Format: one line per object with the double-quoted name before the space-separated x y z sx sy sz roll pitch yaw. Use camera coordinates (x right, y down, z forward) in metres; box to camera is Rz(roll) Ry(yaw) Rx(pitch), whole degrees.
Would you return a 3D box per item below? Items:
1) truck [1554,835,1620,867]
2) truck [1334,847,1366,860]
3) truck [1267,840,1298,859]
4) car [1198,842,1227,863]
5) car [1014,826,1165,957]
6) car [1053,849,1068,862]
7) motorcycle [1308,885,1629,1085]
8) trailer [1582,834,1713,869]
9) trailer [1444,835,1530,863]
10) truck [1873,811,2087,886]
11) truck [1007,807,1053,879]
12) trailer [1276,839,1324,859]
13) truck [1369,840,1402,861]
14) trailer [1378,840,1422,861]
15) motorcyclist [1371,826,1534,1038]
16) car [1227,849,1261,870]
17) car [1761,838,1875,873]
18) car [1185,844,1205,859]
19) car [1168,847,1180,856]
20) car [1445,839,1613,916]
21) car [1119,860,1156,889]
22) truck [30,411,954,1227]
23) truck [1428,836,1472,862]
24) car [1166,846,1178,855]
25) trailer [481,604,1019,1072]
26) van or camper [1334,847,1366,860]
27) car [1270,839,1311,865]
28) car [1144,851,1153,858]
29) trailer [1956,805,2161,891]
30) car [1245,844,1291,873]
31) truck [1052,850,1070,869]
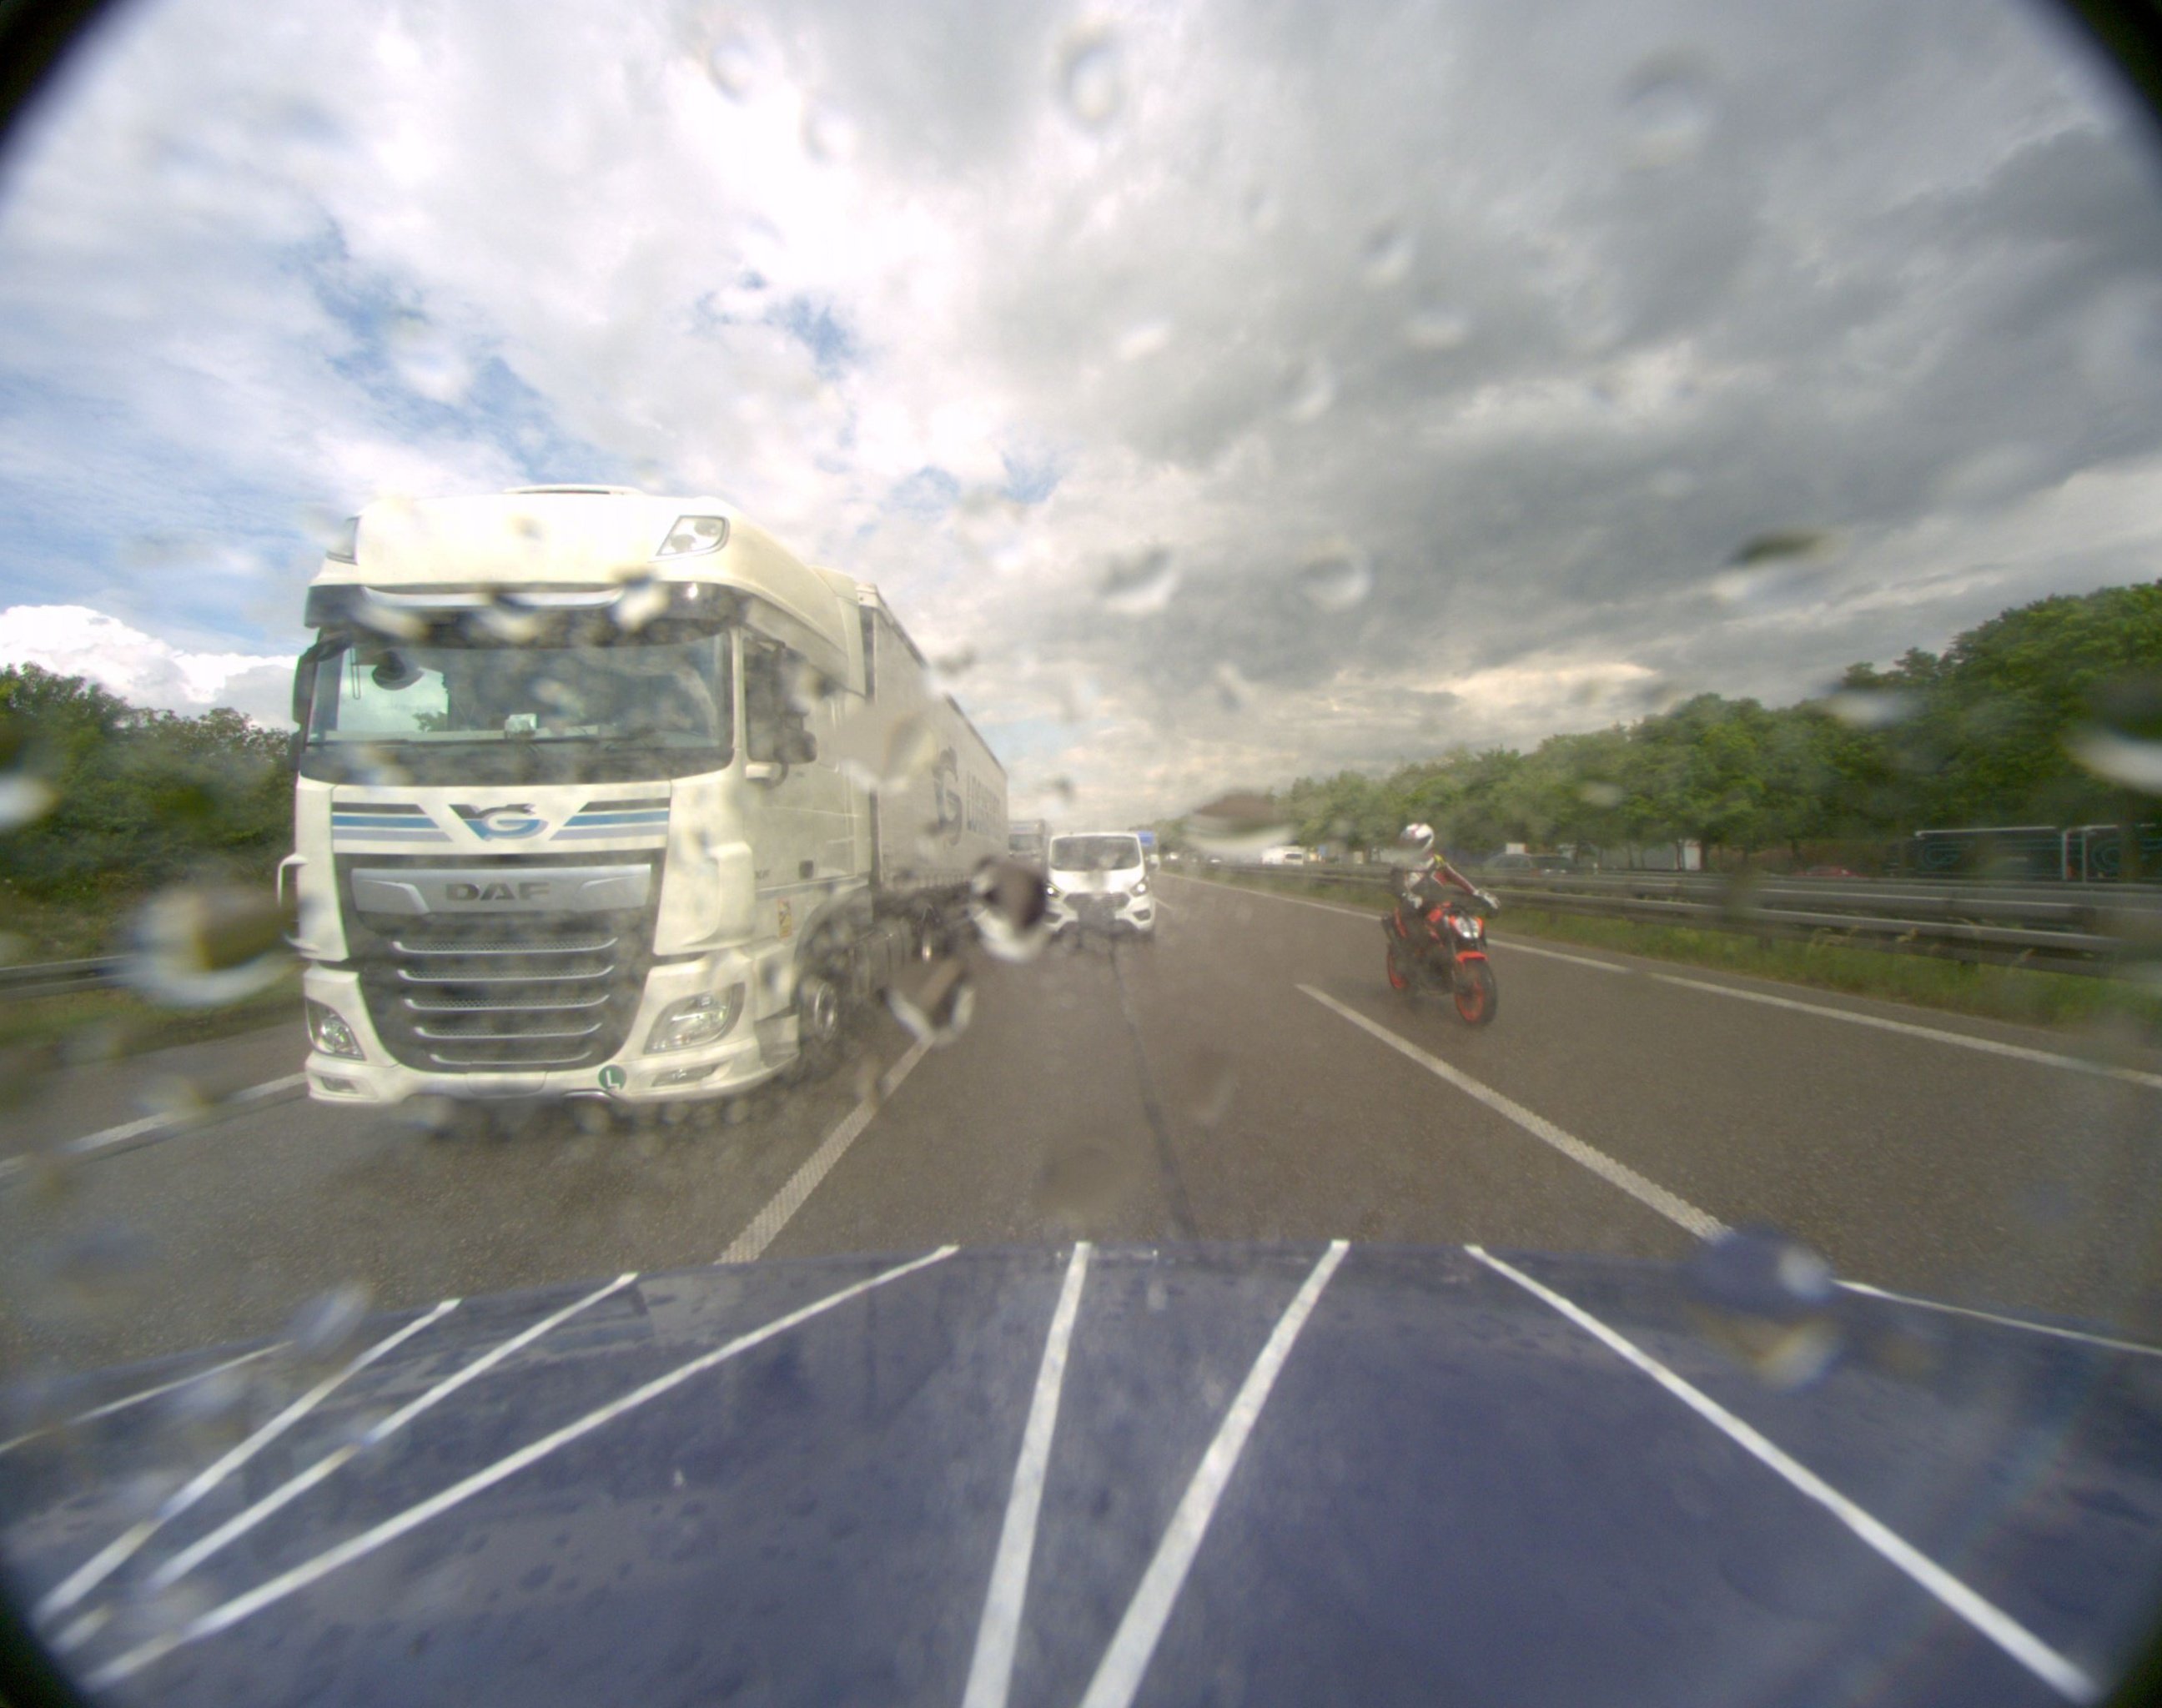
"truck" 55.300 -0.341 83.192 3.362 3.254 5.505 -2 1 -4
"truck" 47.564 -0.111 134.473 2.126 2.252 6.311 -2 1 -13
"truck" 41.570 -0.916 156.950 3.219 3.683 6.907 -2 1 -14
"car" 13.622 -0.186 78.952 2.179 2.034 4.651 -2 1 0
"car" 0.132 0.575 14.800 2.350 2.033 5.142 -2 1 0
"car" -3.467 0.233 130.796 2.350 2.033 5.142 -2 1 0
"motorcycle" 3.270 1.005 7.050 1.188 1.219 3.193 -2 1 -3
"trailer" 55.617 -0.260 75.342 3.356 3.198 12.471 -1 0 -2
"trailer" 53.109 -0.659 100.122 2.832 3.385 13.417 -1 0 -7
"truck" 57.015 -0.369 48.677 3.797 4.210 8.416 -2 1 1
"truck" -3.282 -0.688 49.445 2.650 4.250 6.882 -2 1 -3
"trailer" 43.200 -0.893 150.574 3.216 3.717 12.554 -1 0 -14
"truck" 49.463 -0.566 123.535 2.663 3.249 5.081 -2 1 -10
"trailer" 50.201 -0.566 119.798 2.588 3.214 7.734 -1 0 -10
"motorcyclist" 3.219 0.629 6.690 0.883 1.696 1.000 -2 1 -2
"car" 17.458 0.589 81.618 2.179 2.034 6.499 -2 1 0
"car" 56.648 0.102 58.624 2.800 2.468 6.209 -2 1 1
"car" 15.488 -0.338 103.530 1.958 1.880 5.057 -2 1 0
"car" 21.096 -0.491 172.140 2.051 1.880 5.258 -2 1 0
"car" 13.575 0.611 23.486 2.056 2.034 5.208 -2 1 0
"car" 4.332 1.543 59.105 2.350 2.033 5.142 -2 1 0
"truck" -3.392 -0.177 6.926 3.293 3.868 6.395 -2 0 -1
"truck" 52.206 -0.663 107.633 2.869 3.436 5.893 -2 1 -7
"car" 21.423 -0.876 178.402 2.051 1.880 5.258 -2 1 0
"trailer" -3.391 -0.208 13.554 3.292 3.876 14.125 -2 1 0
"van or camper" 47.543 -0.110 134.347 2.126 2.252 6.316 -2 1 -13
"car" 17.771 -0.186 64.641 2.179 2.034 4.651 -2 1 0
"car" 19.340 0.069 218.986 2.051 1.880 5.258 -2 1 0
"trailer" 56.942 -0.352 40.982 3.798 4.380 13.801 -1 0 1
"car" 13.848 0.283 56.473 2.056 2.034 5.208 -2 1 0
"truck" -3.887 1.012 151.070 3.218 3.607 10.152 -2 1 0
